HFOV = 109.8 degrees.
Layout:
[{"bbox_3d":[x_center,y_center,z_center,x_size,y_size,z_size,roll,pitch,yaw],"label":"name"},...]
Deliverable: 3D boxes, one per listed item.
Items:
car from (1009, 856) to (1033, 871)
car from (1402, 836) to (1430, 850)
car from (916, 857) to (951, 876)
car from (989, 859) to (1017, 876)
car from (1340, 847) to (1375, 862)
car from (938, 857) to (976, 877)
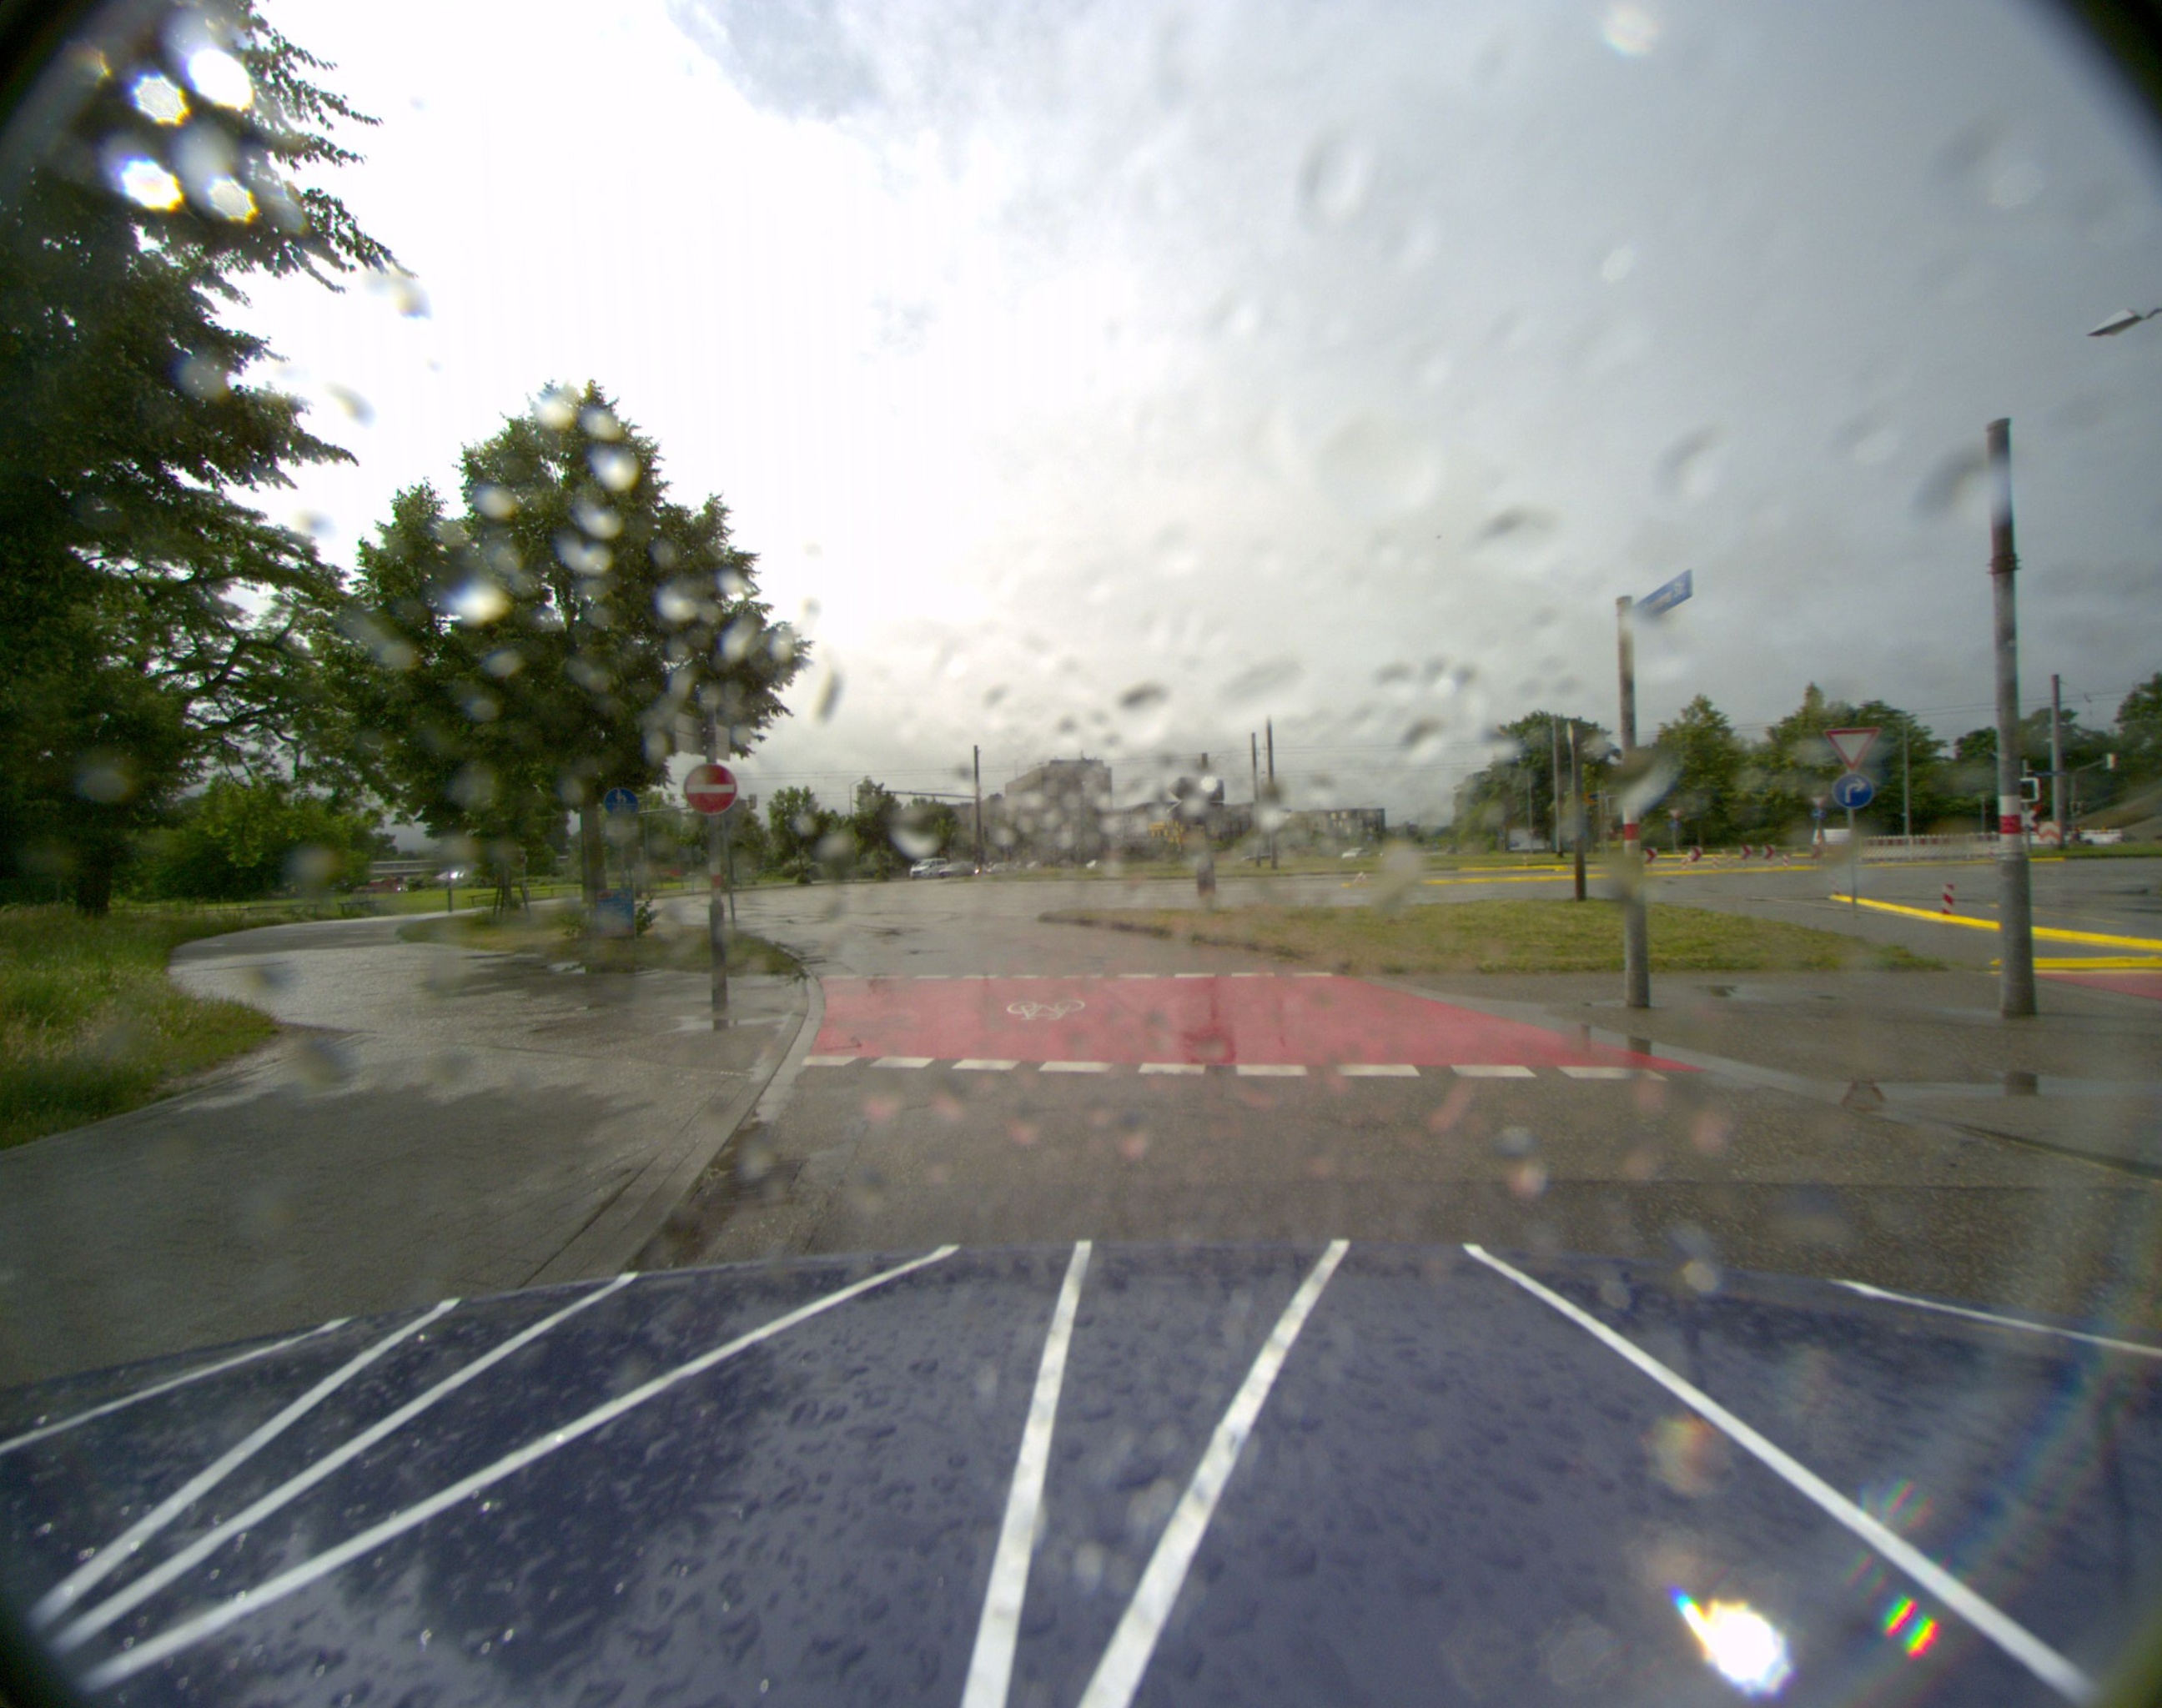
[{"bbox_3d":[-7.367,1.188,94.012,1.866,1.739,4.003,-2,0,11],"label":"car"},{"bbox_3d":[40.708,-1.365,92.260,3.487,1.521,1.665,-2,-1,-40],"label":"car"},{"bbox_3d":[-14.318,1.188,73.879,1.889,1.703,4.233,-1,0,11],"label":"car"},{"bbox_3d":[-8.113,1.429,79.733,1.768,1.586,4.003,-3,0,11],"label":"car"},{"bbox_3d":[30.560,0.021,83.895,4.126,1.521,1.665,-2,-1,-40],"label":"car"},{"bbox_3d":[-11.175,1.145,68.904,1.666,1.678,4.211,-3,-1,16],"label":"car"}]
